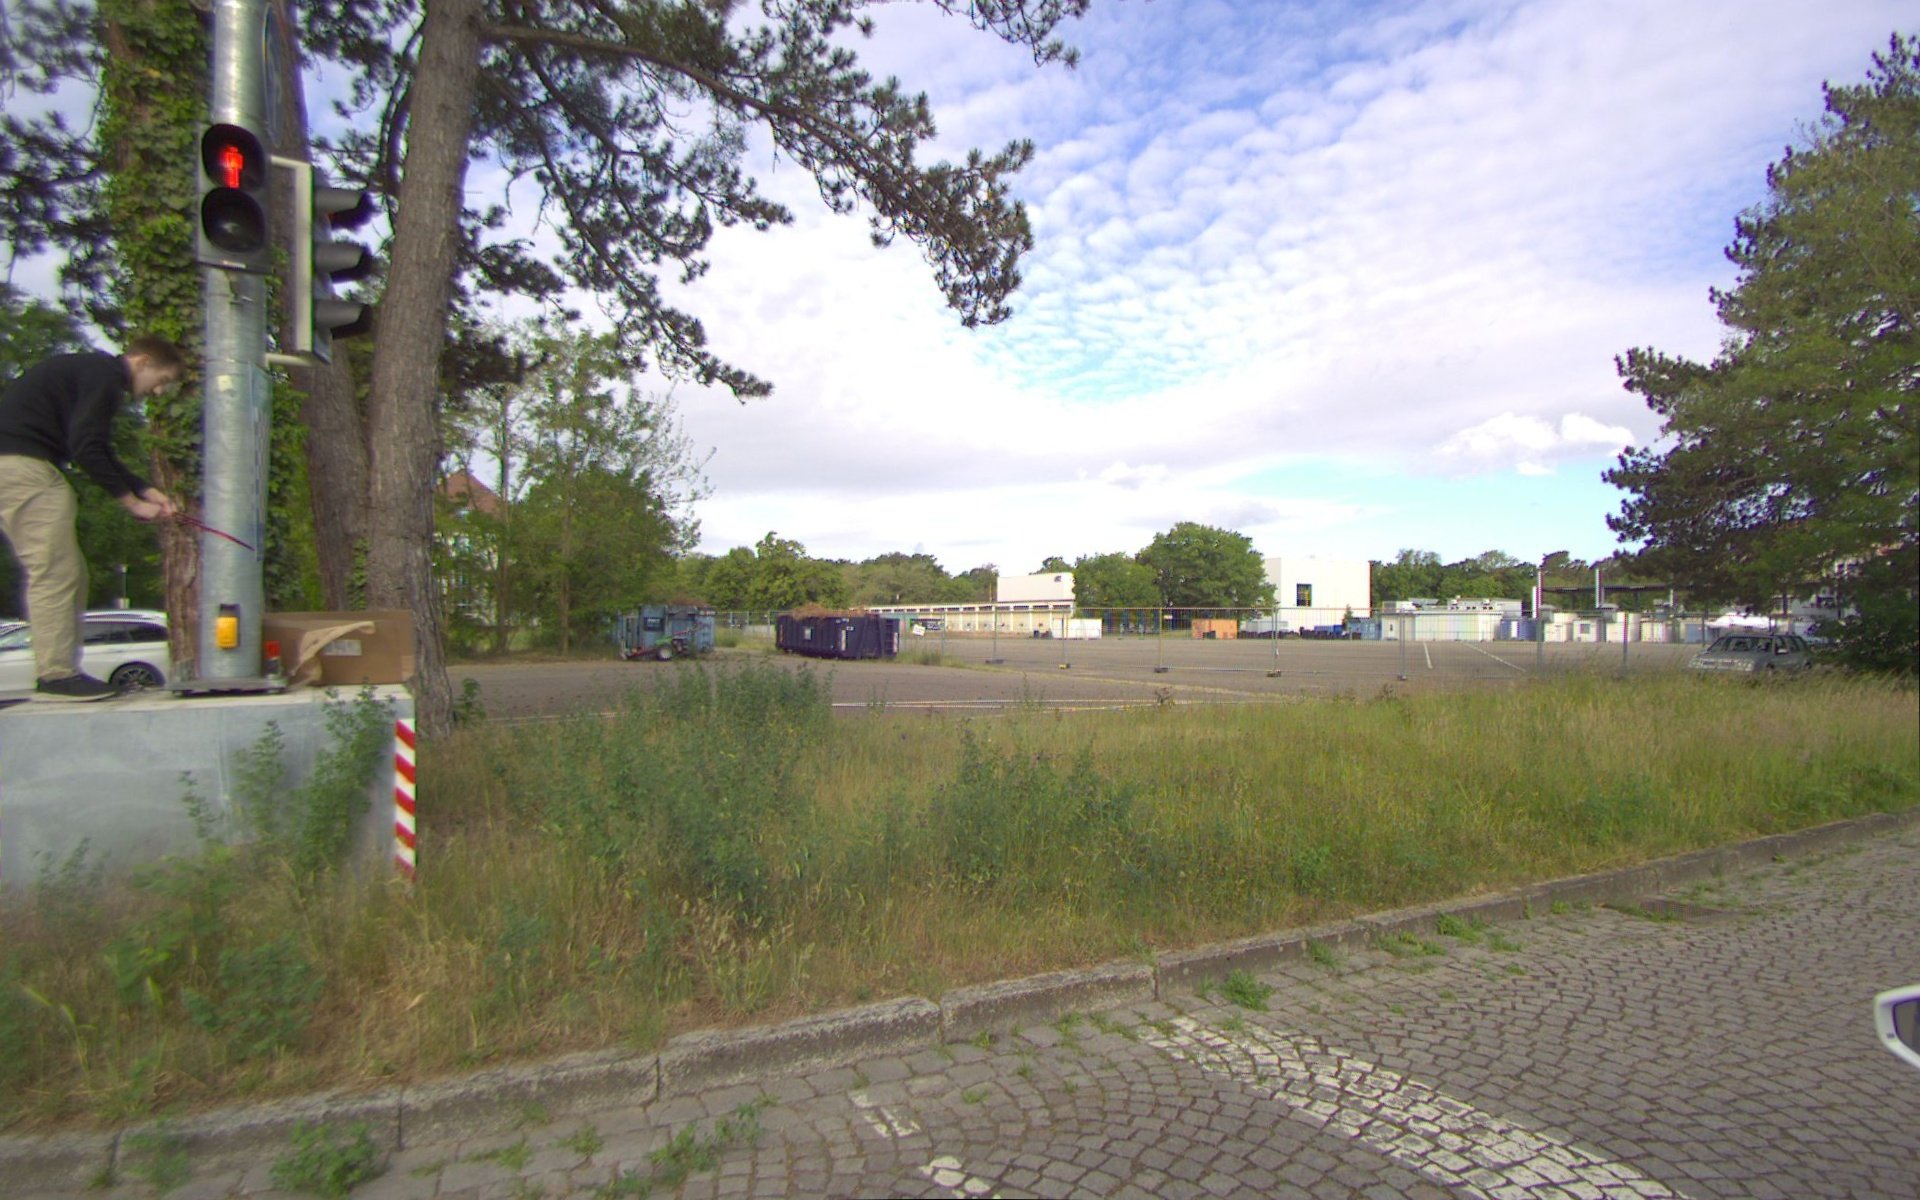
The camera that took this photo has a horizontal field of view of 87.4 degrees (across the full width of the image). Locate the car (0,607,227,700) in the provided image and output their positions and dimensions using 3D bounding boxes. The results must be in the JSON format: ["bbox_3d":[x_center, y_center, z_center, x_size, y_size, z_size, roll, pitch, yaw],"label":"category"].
[{"bbox_3d":[-16.808,0.981,19.078,4.535,1.599,1.824,-1,0,-33],"label":"car"}]

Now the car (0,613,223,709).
[{"bbox_3d":[-15.361,0.999,16.926,4.605,1.470,1.824,-1,0,-33],"label":"car"}]

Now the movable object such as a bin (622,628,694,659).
[{"bbox_3d":[-9.359,1.334,31.132,1.918,0.945,1.030,1,-2,-38],"label":"movable object such as a bin"}]

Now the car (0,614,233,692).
[{"bbox_3d":[-18.302,1.069,21.247,4.531,1.489,1.826,-1,0,-31],"label":"car"}]

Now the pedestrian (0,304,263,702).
[{"bbox_3d":[-3.672,-0.364,4.346,0.808,1.537,0.881,1,-1,-16],"label":"pedestrian"}]

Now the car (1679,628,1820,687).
[{"bbox_3d":[21.426,1.518,27.214,4.419,1.457,1.705,1,-1,-33],"label":"car"}]

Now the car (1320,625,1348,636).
[{"bbox_3d":[57.388,4.634,154.172,1.612,1.553,3.945,1,-1,-32],"label":"car"}]
